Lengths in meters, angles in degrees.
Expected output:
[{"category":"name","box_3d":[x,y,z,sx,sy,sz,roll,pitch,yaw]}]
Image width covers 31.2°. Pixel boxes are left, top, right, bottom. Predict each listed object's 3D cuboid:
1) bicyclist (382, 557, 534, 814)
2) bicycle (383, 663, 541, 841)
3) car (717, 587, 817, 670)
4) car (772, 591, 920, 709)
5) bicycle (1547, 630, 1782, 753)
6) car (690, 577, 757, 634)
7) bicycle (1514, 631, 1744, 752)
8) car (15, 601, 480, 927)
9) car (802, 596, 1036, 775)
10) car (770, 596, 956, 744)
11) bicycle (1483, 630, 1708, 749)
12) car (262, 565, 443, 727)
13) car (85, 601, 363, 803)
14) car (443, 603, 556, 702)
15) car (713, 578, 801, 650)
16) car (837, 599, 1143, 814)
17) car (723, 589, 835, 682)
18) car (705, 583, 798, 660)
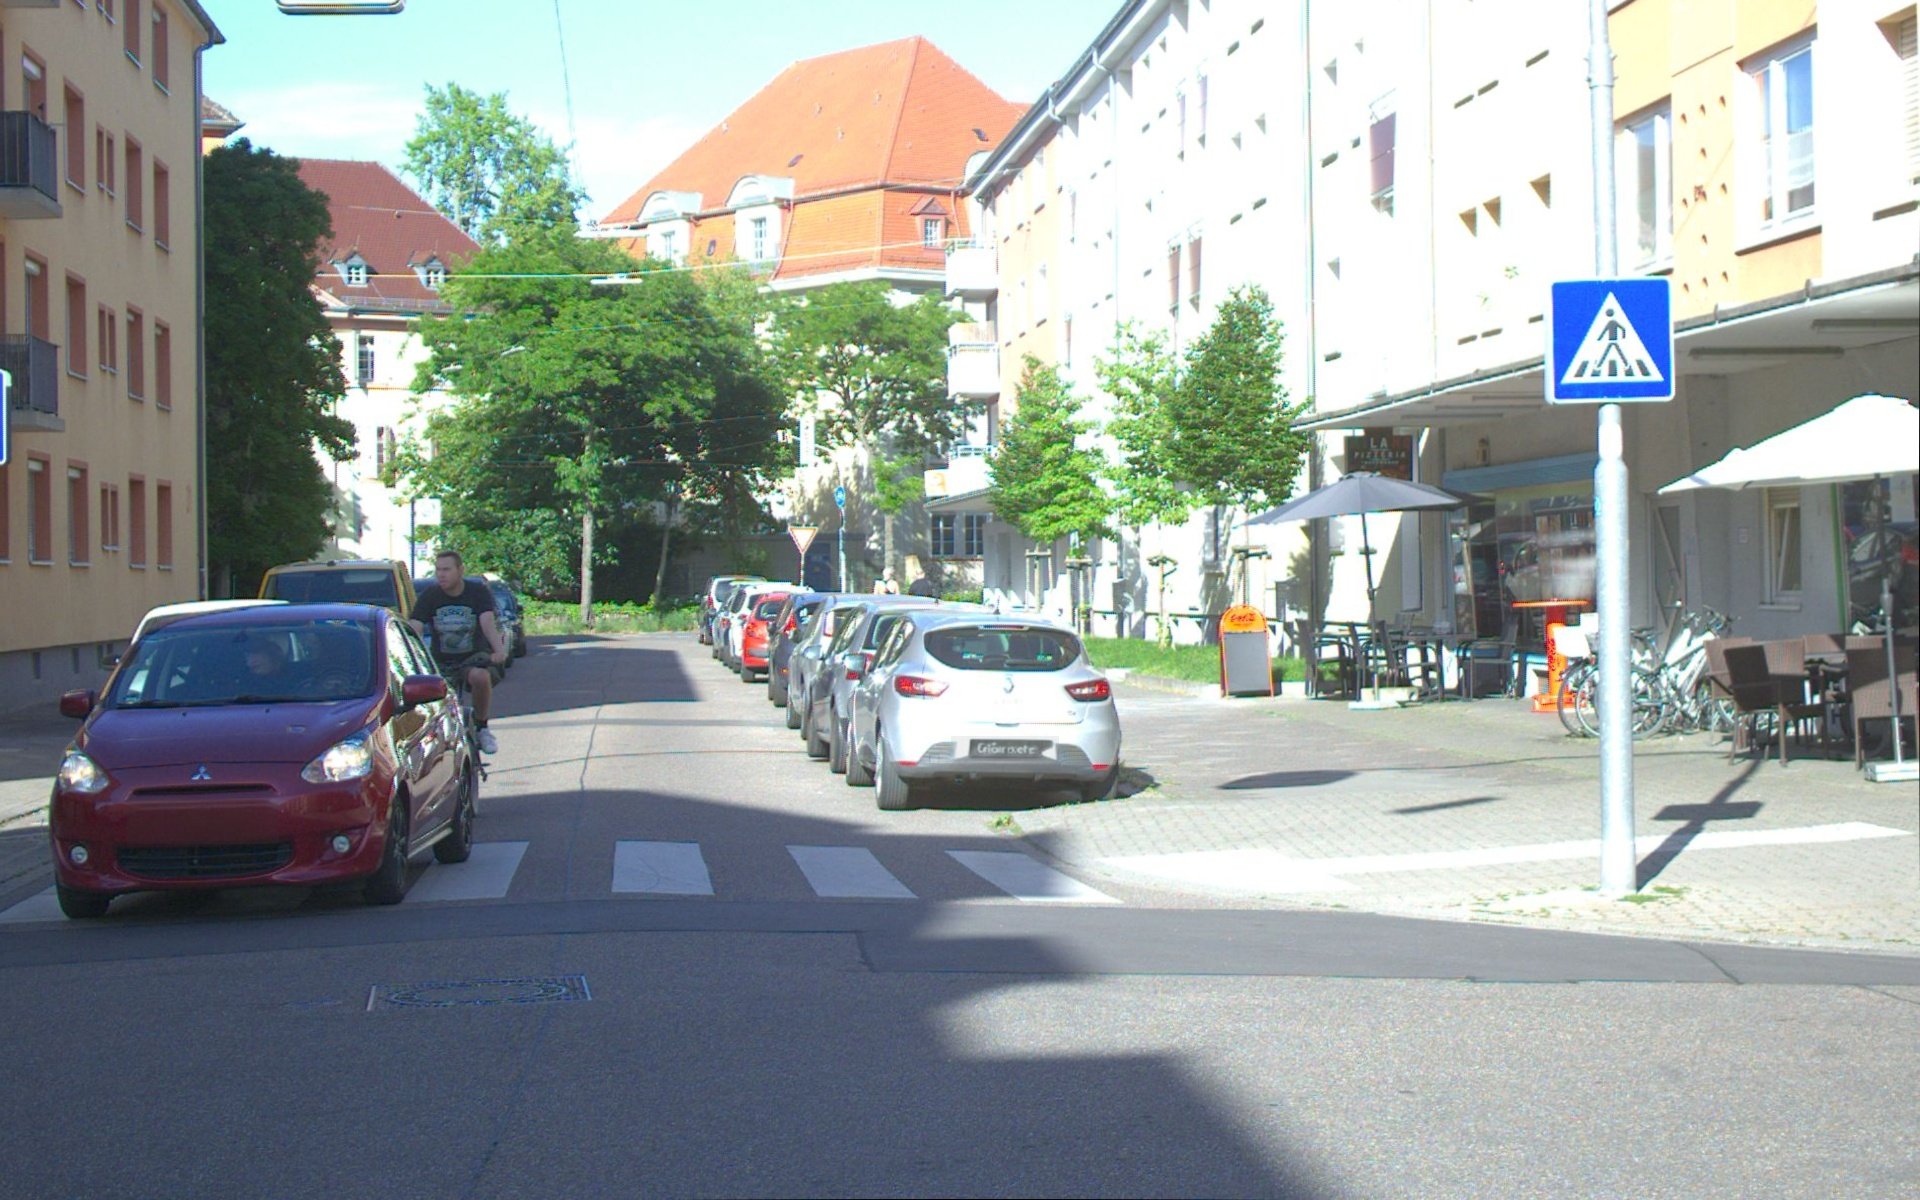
[{"category":"bicyclist","box_3d":[-3.278,0.542,22.511,0.786,1.615,0.956,-3,1,-1]},{"category":"bicycle","box_3d":[-3.261,0.980,22.650,0.778,1.066,1.789,-1,0,-1]},{"category":"car","box_3d":[-3.542,0.504,62.677,1.637,1.436,3.419,-1,0,-6]},{"category":"car","box_3d":[-1.525,0.622,45.034,1.637,1.436,3.419,-1,0,-7]},{"category":"bicycle","box_3d":[5.912,0.756,28.858,1.806,0.964,0.674,-1,0,-15]},{"category":"car","box_3d":[-6.283,0.131,91.116,1.637,1.436,3.419,-1,0,-6]},{"category":"bicycle","box_3d":[5.731,0.777,29.474,1.806,0.964,0.674,-1,0,-15]},{"category":"car","box_3d":[-3.502,0.751,17.471,1.697,1.436,3.419,-1,0,-1]},{"category":"car","box_3d":[-0.418,0.709,30.264,1.690,1.436,3.419,-1,0,-7]},{"category":"car","box_3d":[-1.058,0.694,36.091,1.637,1.436,3.419,-1,0,-7]},{"category":"bicycle","box_3d":[5.557,0.773,30.091,1.806,0.964,0.674,-1,0,-15]},{"category":"car","box_3d":[-7.124,0.503,40.627,1.697,1.773,4.099,-1,0,-5]},{"category":"car","box_3d":[-6.260,0.820,29.648,1.791,1.475,4.099,-2,1,-5]},{"category":"car","box_3d":[-7.147,0.798,53.580,1.637,1.436,3.419,-1,0,-7]},{"category":"car","box_3d":[-4.272,0.286,72.008,1.637,1.436,3.419,-1,0,-6]},{"category":"car","box_3d":[0.154,0.740,25.636,1.845,1.436,3.419,-1,0,-6]},{"category":"car","box_3d":[-3.010,0.564,56.679,1.637,1.436,3.419,-1,0,-6]},{"category":"car","box_3d":[-4.116,0.401,67.421,1.637,1.436,3.419,-1,0,-6]}]
